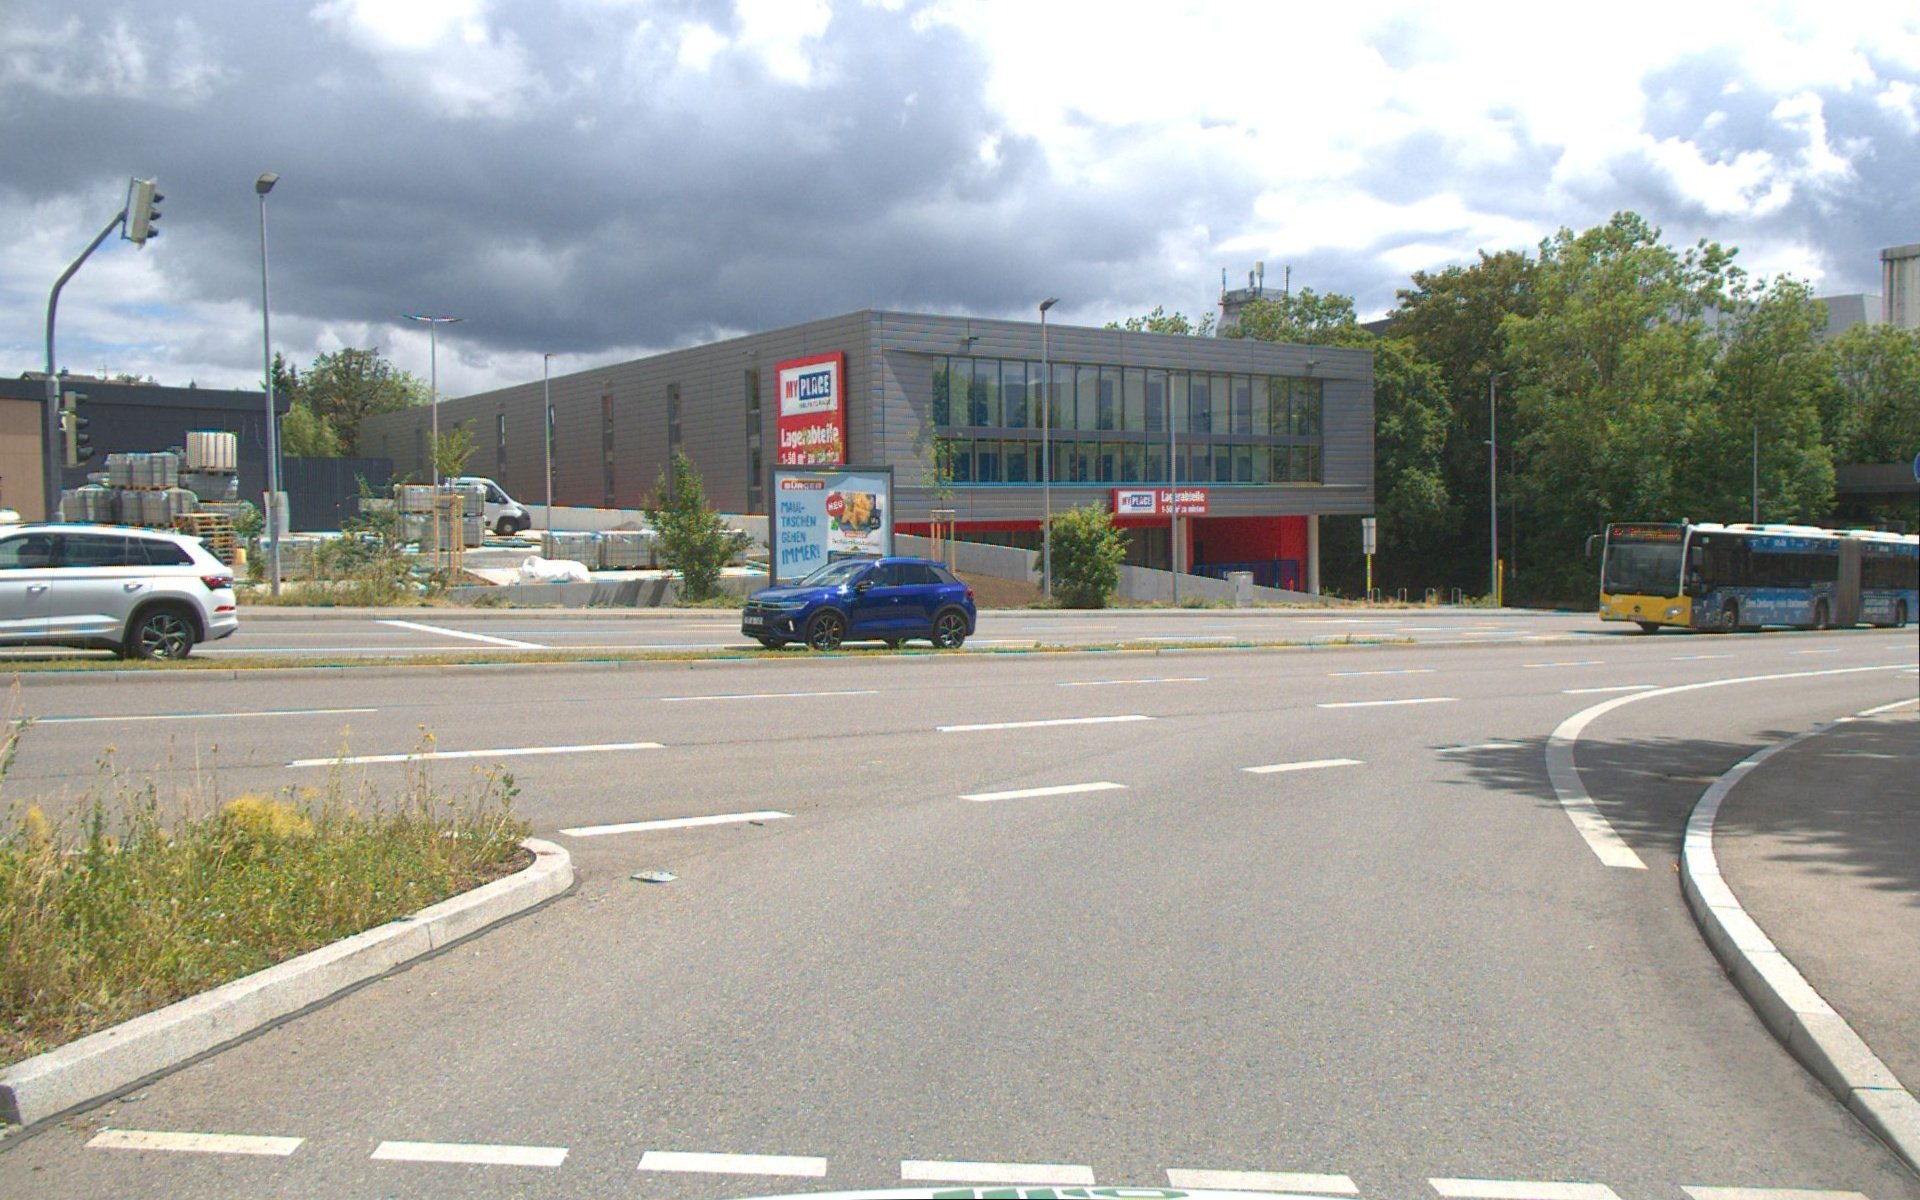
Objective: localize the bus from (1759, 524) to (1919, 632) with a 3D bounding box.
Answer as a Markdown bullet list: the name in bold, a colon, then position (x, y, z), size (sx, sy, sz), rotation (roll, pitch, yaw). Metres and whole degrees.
- **bus**: position (29.355, -0.742, 53.533), size (8.820, 3.218, 2.786), rotation (-1, 3, -39)

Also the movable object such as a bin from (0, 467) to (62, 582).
- **movable object such as a bin**: position (-22.793, -1.749, 38.175), size (3.355, 2.582, 2.139), rotation (1, 1, -22)

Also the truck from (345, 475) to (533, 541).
- **truck**: position (-19.558, -3.487, 62.177), size (6.477, 2.182, 1.985), rotation (-4, 5, -25)

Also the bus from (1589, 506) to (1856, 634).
- **bus**: position (22.072, -0.803, 47.528), size (10.020, 3.342, 2.786), rotation (0, 2, -39)

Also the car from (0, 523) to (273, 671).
- **car**: position (-11.042, -0.076, 19.916), size (4.857, 1.687, 1.708), rotation (-1, 3, -41)

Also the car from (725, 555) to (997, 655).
- **car**: position (-1.622, 0.045, 27.970), size (4.353, 1.537, 1.787), rotation (0, 3, -38)
